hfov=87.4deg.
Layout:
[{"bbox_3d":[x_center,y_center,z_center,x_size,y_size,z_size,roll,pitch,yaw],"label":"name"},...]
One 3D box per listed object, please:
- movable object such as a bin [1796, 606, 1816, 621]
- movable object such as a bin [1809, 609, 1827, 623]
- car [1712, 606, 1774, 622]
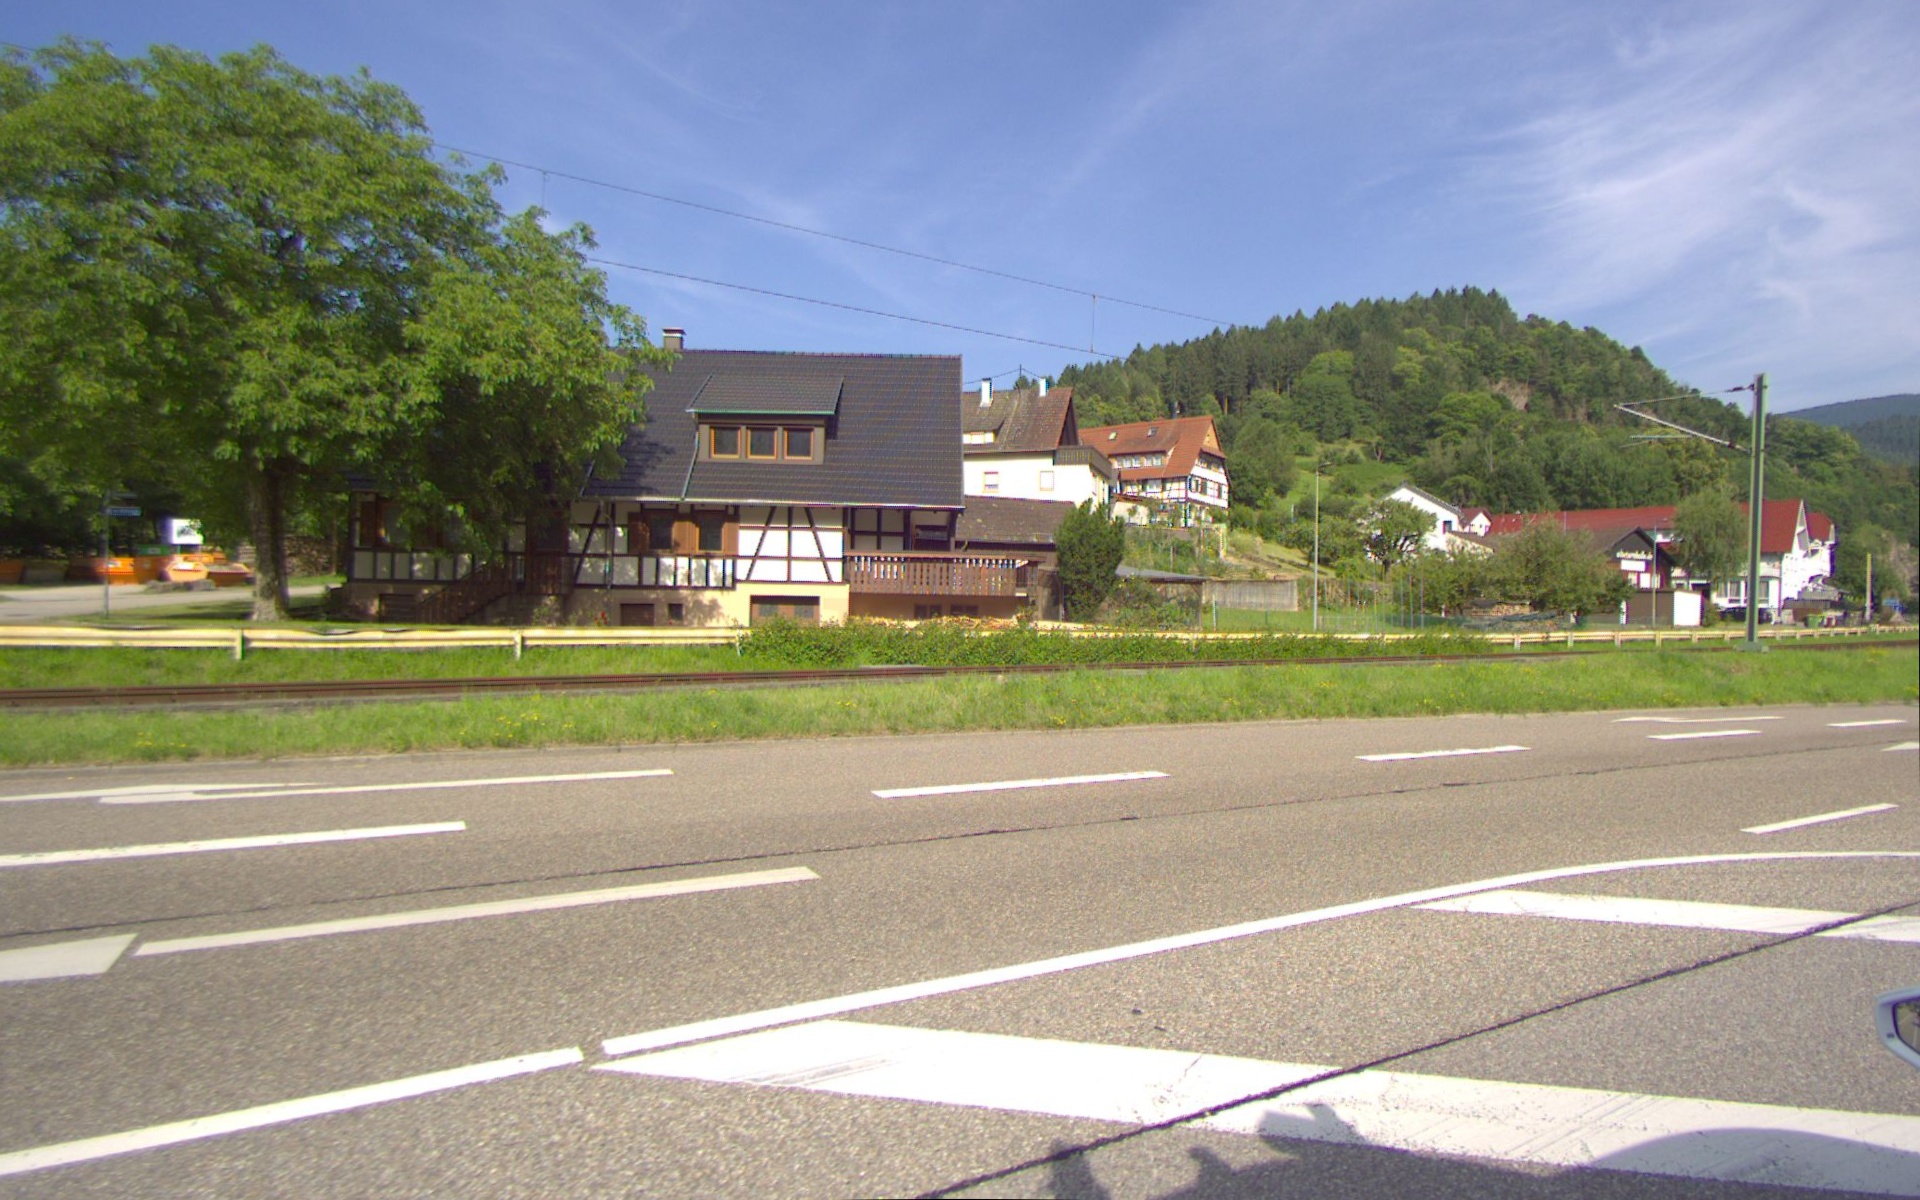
[{"bbox_3d":[68.143,1.100,80.901,1.127,1.208,1.087,2,1,43],"label":"movable object such as a bin"},{"bbox_3d":[76.847,1.430,90.003,1.134,1.208,1.080,1,1,-42],"label":"movable object such as a bin"},{"bbox_3d":[68.491,1.213,87.900,1.722,1.287,4.061,1,1,-39],"label":"car"}]
